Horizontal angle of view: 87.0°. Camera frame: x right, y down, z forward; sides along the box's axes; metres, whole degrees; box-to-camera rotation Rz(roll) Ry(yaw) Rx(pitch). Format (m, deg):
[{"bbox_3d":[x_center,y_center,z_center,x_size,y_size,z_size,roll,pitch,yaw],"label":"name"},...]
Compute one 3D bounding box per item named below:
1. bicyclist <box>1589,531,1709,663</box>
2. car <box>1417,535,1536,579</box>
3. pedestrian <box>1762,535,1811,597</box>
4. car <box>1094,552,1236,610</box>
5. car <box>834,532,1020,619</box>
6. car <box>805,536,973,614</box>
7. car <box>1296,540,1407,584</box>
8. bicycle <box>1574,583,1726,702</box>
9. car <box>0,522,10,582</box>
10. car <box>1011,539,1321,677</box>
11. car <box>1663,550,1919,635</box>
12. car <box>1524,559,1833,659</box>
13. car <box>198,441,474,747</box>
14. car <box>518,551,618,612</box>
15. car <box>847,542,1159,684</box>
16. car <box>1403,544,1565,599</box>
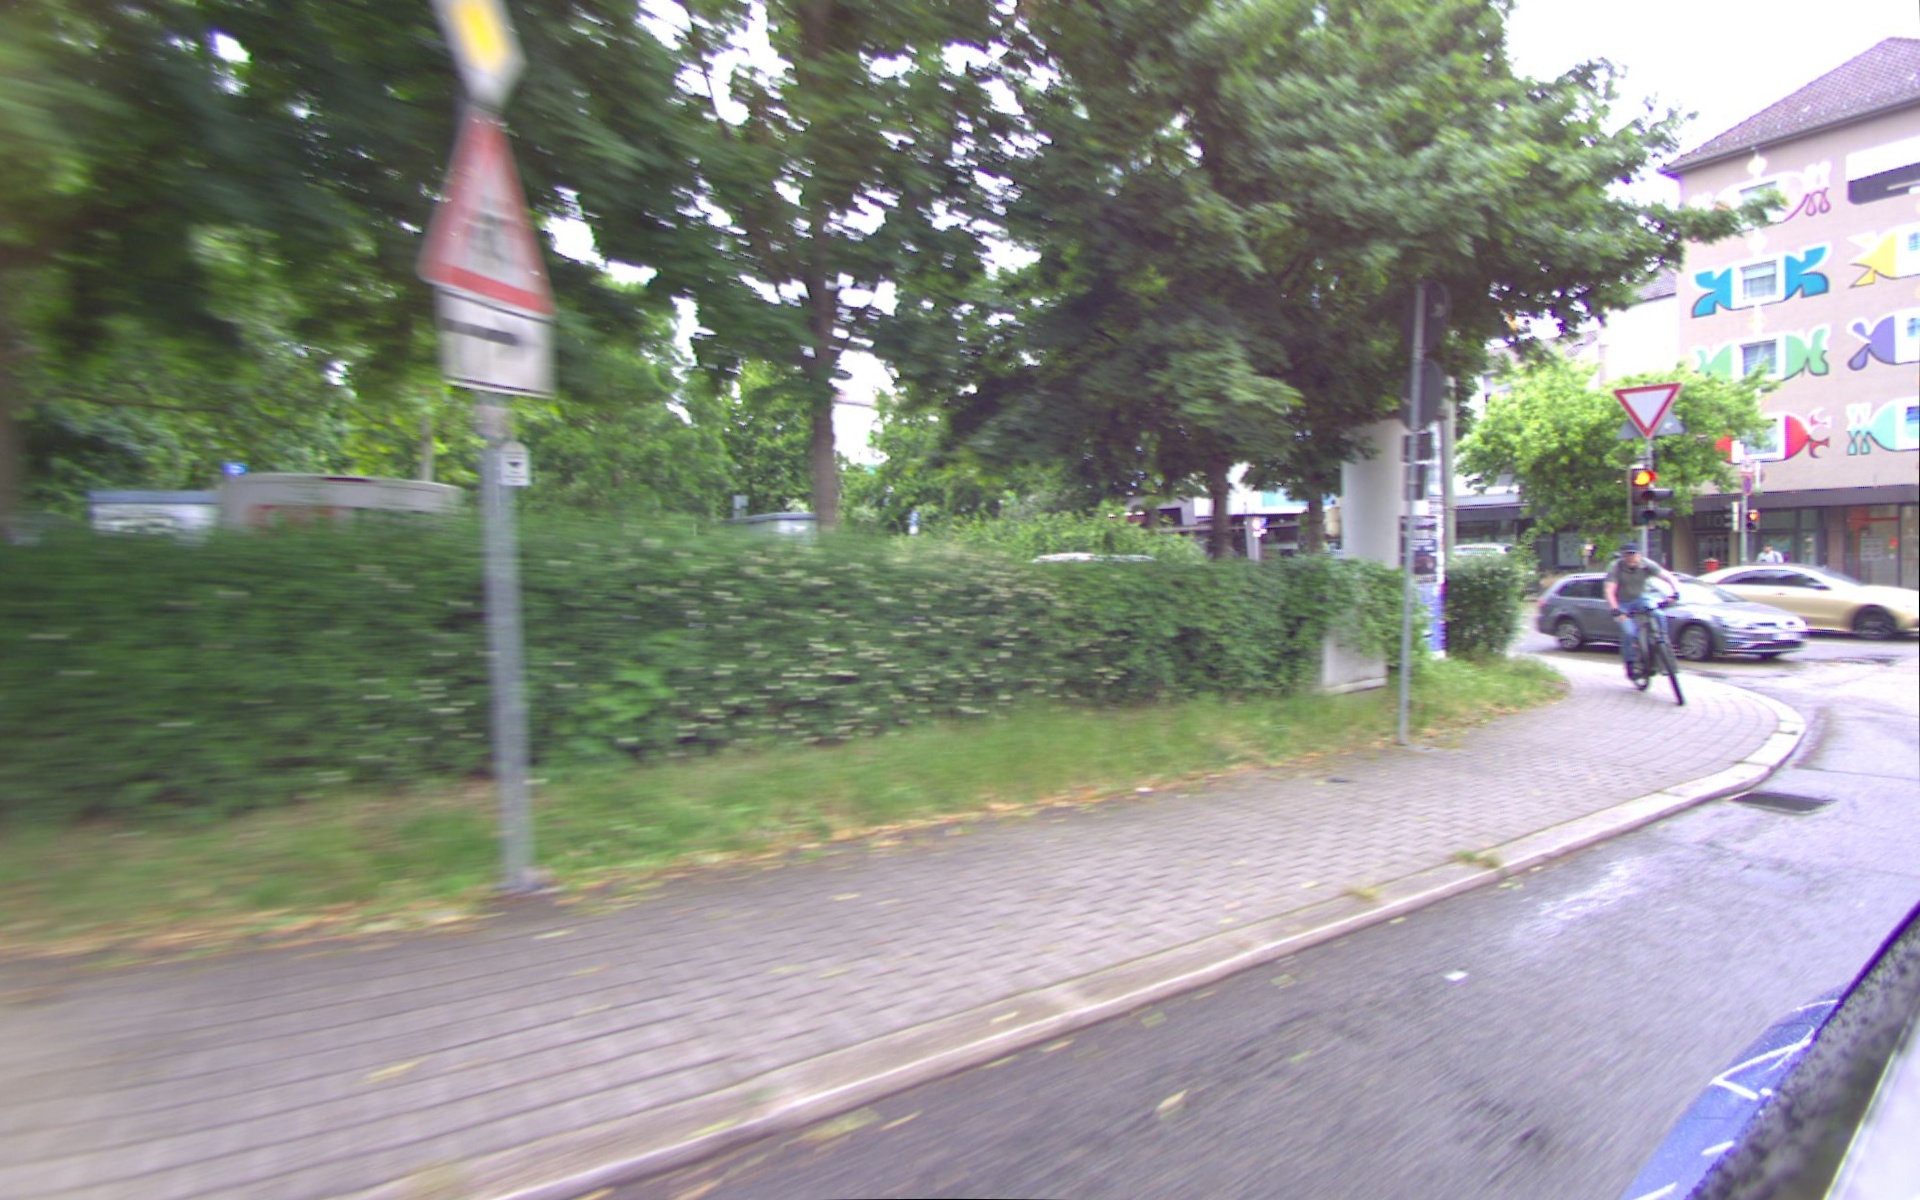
[{"bbox_3d":[8.404,-0.073,12.401,0.877,1.507,0.963,3,4,18],"label":"bicyclist"},{"bbox_3d":[21.758,-1.883,42.784,1.620,1.684,4.188,-5,6,-34],"label":"car"},{"bbox_3d":[24.558,-1.012,30.067,0.802,1.795,0.904,-2,3,-35],"label":"pedestrian"},{"bbox_3d":[7.032,-0.722,35.123,1.959,1.595,4.581,-12,9,-36],"label":"car"},{"bbox_3d":[-0.676,-0.556,21.564,3.630,1.717,1.638,-2,2,-32],"label":"car"},{"bbox_3d":[-1.660,-0.622,24.081,3.630,1.717,1.638,-2,2,-32],"label":"car"},{"bbox_3d":[16.392,-1.648,42.565,1.620,1.684,4.188,-5,6,-34],"label":"car"},{"bbox_3d":[8.397,0.454,12.442,0.877,1.201,2.123,3,4,17],"label":"bicycle"},{"bbox_3d":[-33.922,-1.605,34.080,1.872,2.100,4.005,-3,4,-31],"label":"car"},{"bbox_3d":[2.718,0.049,14.202,1.607,1.642,4.208,0,1,-39],"label":"car"},{"bbox_3d":[17.165,-0.232,20.355,1.954,1.458,4.583,-4,4,-34],"label":"car"},{"bbox_3d":[12.818,0.083,18.467,1.653,1.523,4.512,-3,2,-16],"label":"car"},{"bbox_3d":[-5.241,-0.082,8.822,1.604,1.984,4.218,0,1,-28],"label":"car"},{"bbox_3d":[-11.395,-0.595,29.298,1.766,1.629,4.000,-2,3,-36],"label":"car"},{"bbox_3d":[0.369,0.087,12.867,1.607,1.501,4.208,0,1,-39],"label":"car"},{"bbox_3d":[17.782,-1.032,34.585,1.952,1.723,4.576,-2,3,-31],"label":"car"}]
